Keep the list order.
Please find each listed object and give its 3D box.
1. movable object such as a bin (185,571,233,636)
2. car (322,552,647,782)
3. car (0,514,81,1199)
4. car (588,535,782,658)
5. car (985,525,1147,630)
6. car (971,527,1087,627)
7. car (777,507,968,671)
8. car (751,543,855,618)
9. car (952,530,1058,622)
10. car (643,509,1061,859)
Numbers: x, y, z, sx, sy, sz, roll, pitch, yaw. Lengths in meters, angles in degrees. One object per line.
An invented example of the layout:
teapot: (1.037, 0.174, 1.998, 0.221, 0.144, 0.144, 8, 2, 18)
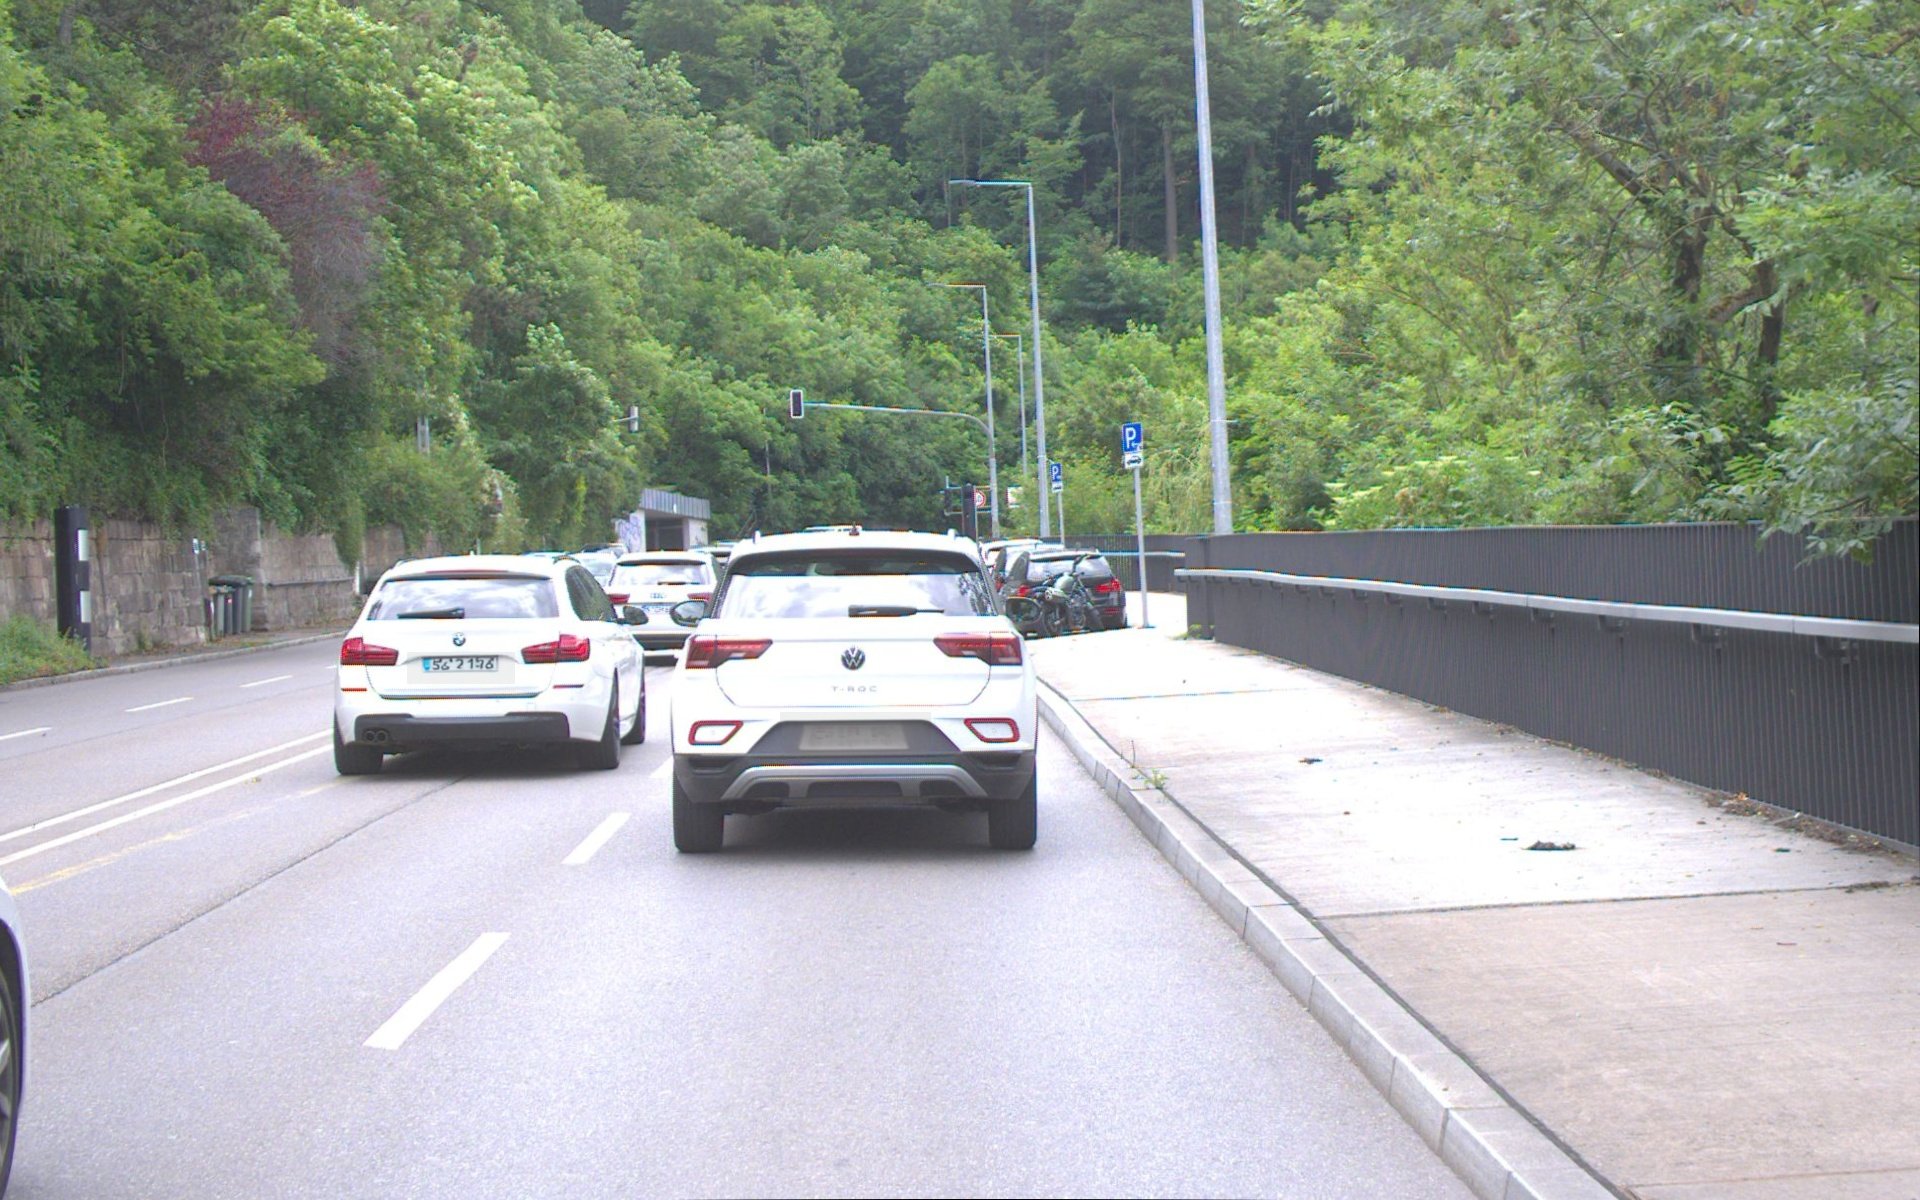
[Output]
movable object such as a bin: (-13.653, 0.063, 62.545, 0.717, 1.171, 0.675, -1, 1, -1)
car: (-3.238, 0.396, 24.192, 1.828, 1.454, 4.486, 0, 1, -2)
car: (-2.996, 0.623, 6.067, 1.821, 1.575, 4.356, -1, 1, -1)
car: (-3.557, -0.066, 45.305, 1.993, 1.498, 4.667, -1, 0, 2)
car: (1.542, -0.351, 51.443, 1.814, 1.503, 4.001, 0, 1, -7)
car: (1.233, -0.449, 63.248, 1.993, 1.712, 4.114, 0, 2, -1)
car: (-0.955, -0.160, 39.770, 1.993, 1.712, 4.114, -2, 1, 1)
car: (-3.410, -0.453, 75.626, 1.993, 1.498, 4.668, -1, 2, 1)
car: (0.861, -0.507, 68.677, 1.993, 1.712, 4.114, 0, 2, -1)
car: (-0.444, 0.384, 17.886, 1.828, 1.600, 4.000, -1, 0, 3)
